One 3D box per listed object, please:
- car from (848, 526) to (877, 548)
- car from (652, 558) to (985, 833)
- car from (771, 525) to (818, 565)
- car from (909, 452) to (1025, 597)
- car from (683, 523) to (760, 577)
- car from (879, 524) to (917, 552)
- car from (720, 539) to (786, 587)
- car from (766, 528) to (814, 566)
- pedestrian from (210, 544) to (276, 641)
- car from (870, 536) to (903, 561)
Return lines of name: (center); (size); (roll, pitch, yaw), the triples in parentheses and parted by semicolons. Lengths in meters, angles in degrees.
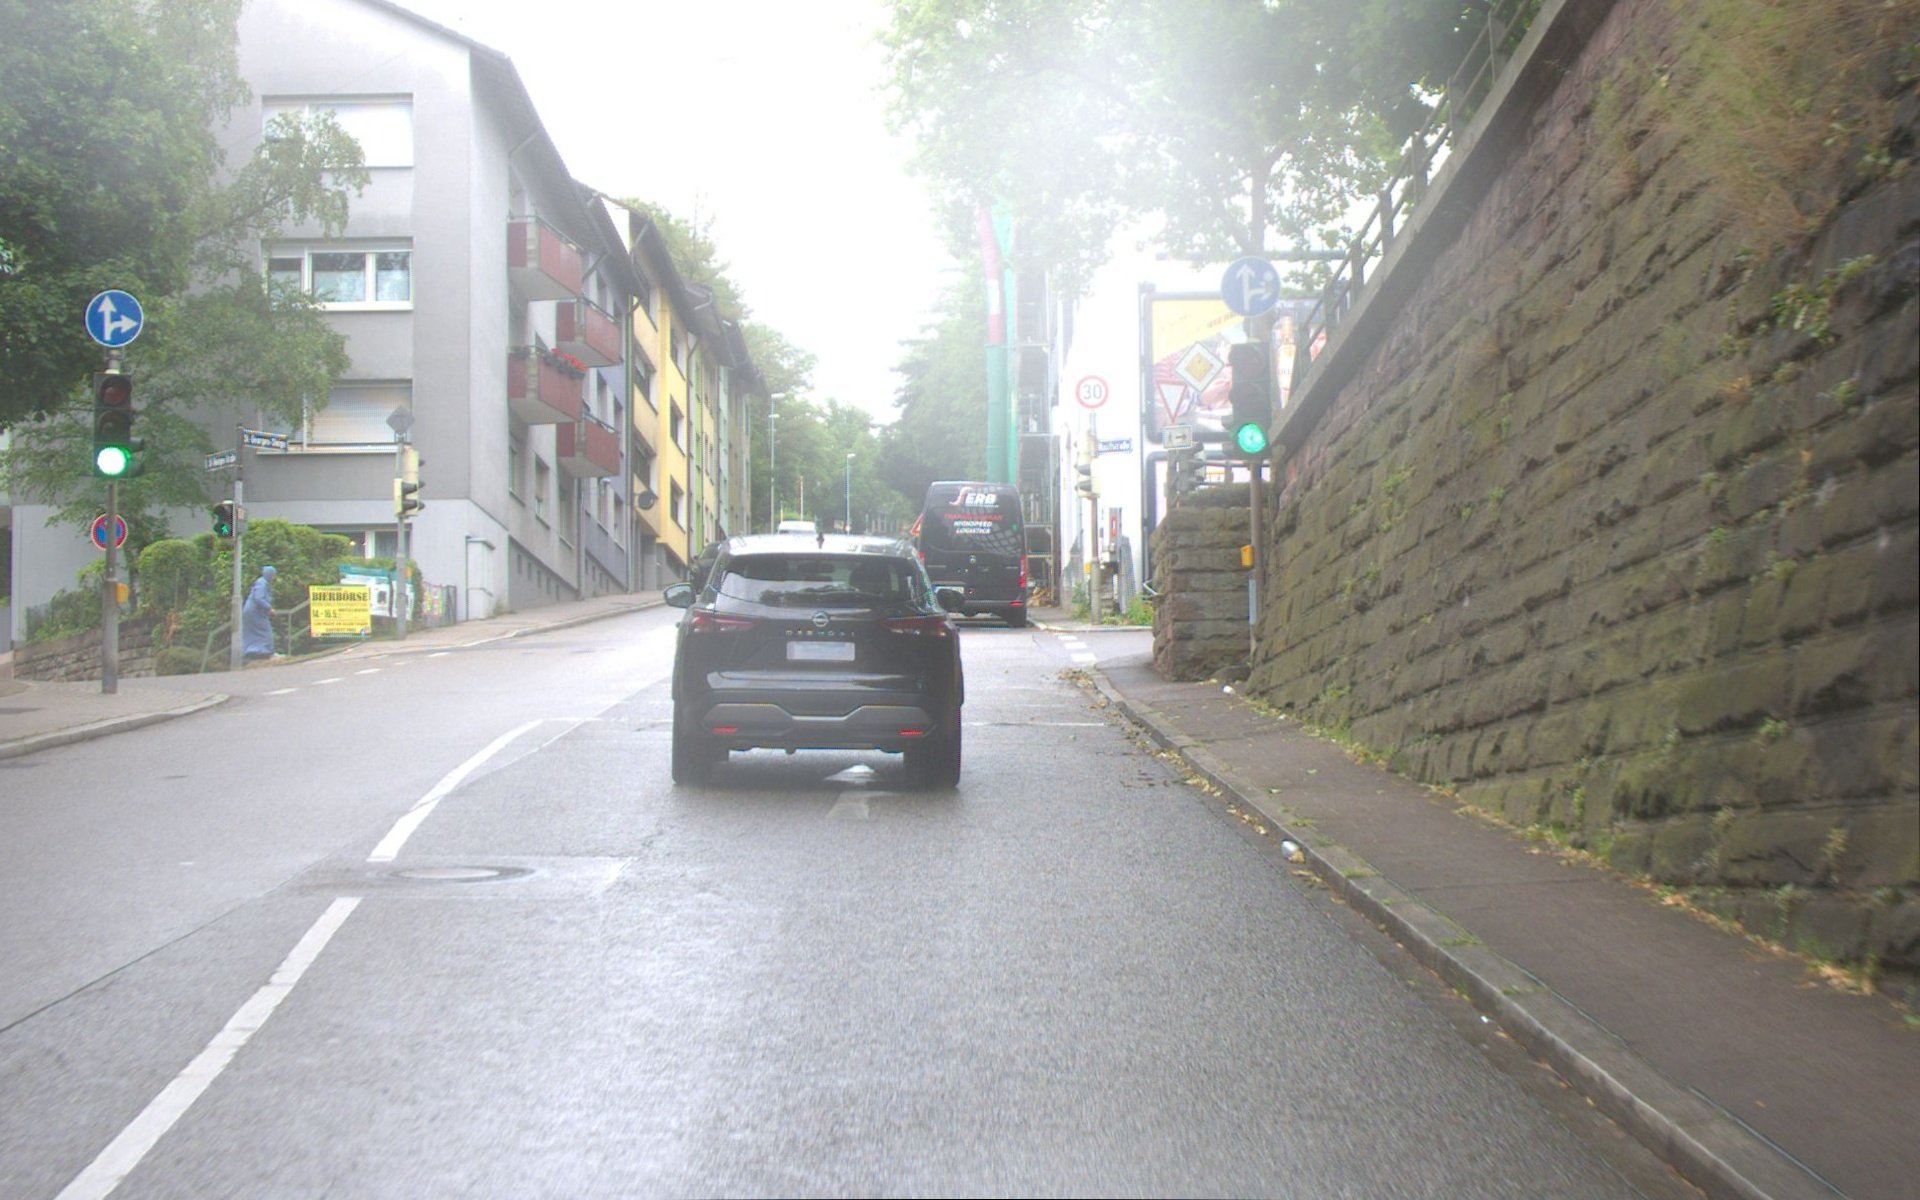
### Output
car: (-7.015, -4.561, 247.417); (2.074, 1.554, 4.001); (0, 1, -2)
car: (-0.882, 0.554, 22.847); (1.993, 1.554, 4.001); (1, 2, -1)
car: (-7.488, -2.506, 155.816); (1.990, 1.749, 4.481); (-1, 2, -2)
car: (0.143, -1.317, 62.694); (1.993, 2.405, 5.836); (1, -1, 0)
car: (-7.613, -1.604, 110.027); (1.993, 1.644, 4.441); (-1, 2, 2)
car: (-3.466, -3.456, 191.364); (2.074, 1.554, 4.001); (0, 1, -2)
car: (-7.592, -1.372, 126.435); (1.993, 1.644, 4.441); (-1, 2, 2)
car: (-7.406, -2.330, 149.779); (1.990, 1.579, 4.306); (-1, 2, -2)
pedestrian: (-11.543, -0.117, 55.405); (0.869, 1.536, 1.087); (1, -1, -4)
car: (-4.709, -3.274, 219.117); (2.074, 1.554, 4.001); (0, 1, -2)
